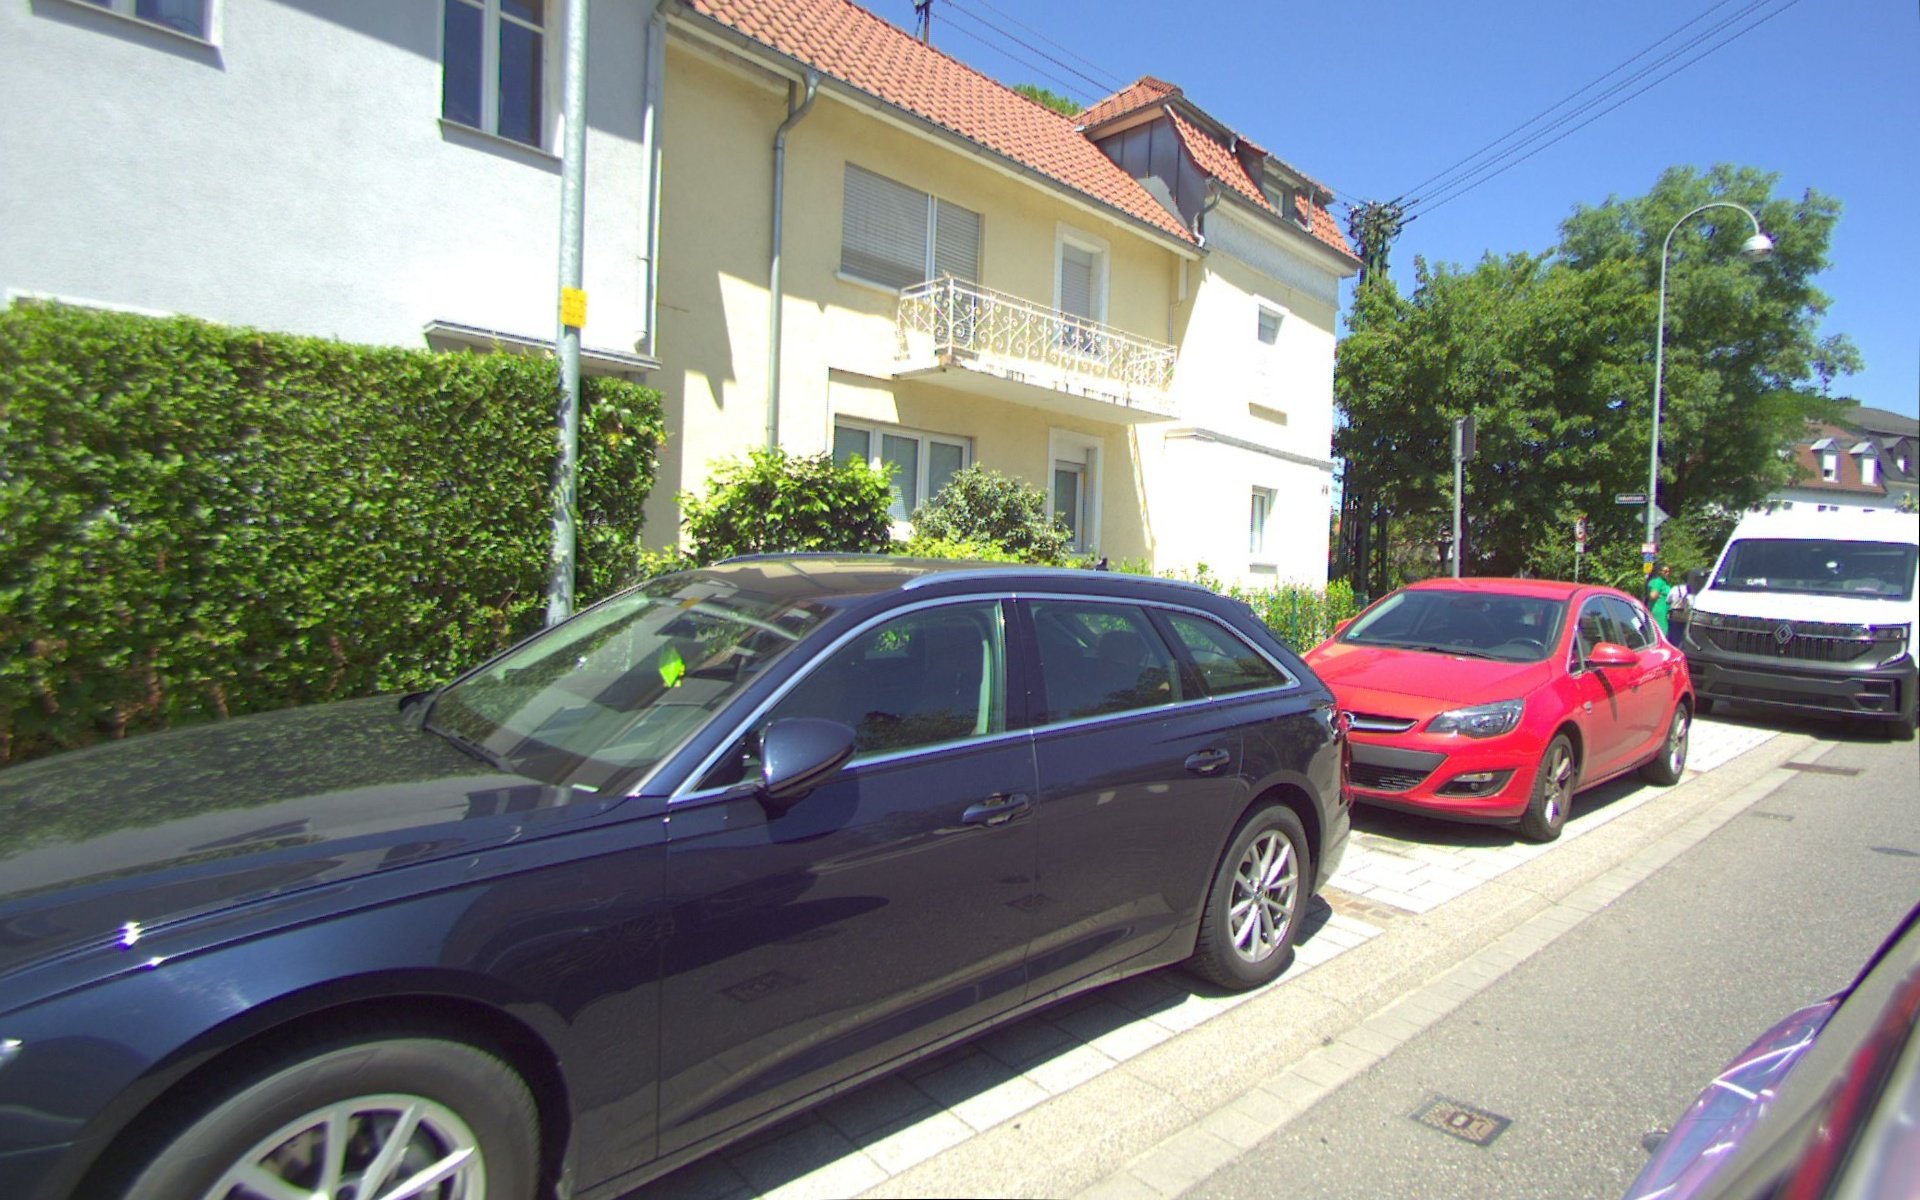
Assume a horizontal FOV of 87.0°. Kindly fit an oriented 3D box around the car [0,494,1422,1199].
[{"bbox_3d":[-0.466,0.557,3.298,4.639,1.492,1.807,0,5,-42],"label":"car"}]

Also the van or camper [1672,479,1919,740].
[{"bbox_3d":[10.908,-0.004,12.377,6.069,2.497,2.113,-1,4,-41],"label":"van or camper"}]

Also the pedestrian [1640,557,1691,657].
[{"bbox_3d":[12.787,0.113,18.373,0.517,1.727,0.796,6,3,28],"label":"pedestrian"}]

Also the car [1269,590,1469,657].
[{"bbox_3d":[9.887,0.579,24.817,1.613,1.486,4.405,1,-2,-34],"label":"car"}]

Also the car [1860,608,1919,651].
[{"bbox_3d":[47.332,1.450,49.881,1.958,2.039,4.008,1,0,-15],"label":"car"}]

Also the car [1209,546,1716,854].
[{"bbox_3d":[3.723,0.475,7.153,4.079,1.549,1.806,0,2,-42],"label":"car"}]
